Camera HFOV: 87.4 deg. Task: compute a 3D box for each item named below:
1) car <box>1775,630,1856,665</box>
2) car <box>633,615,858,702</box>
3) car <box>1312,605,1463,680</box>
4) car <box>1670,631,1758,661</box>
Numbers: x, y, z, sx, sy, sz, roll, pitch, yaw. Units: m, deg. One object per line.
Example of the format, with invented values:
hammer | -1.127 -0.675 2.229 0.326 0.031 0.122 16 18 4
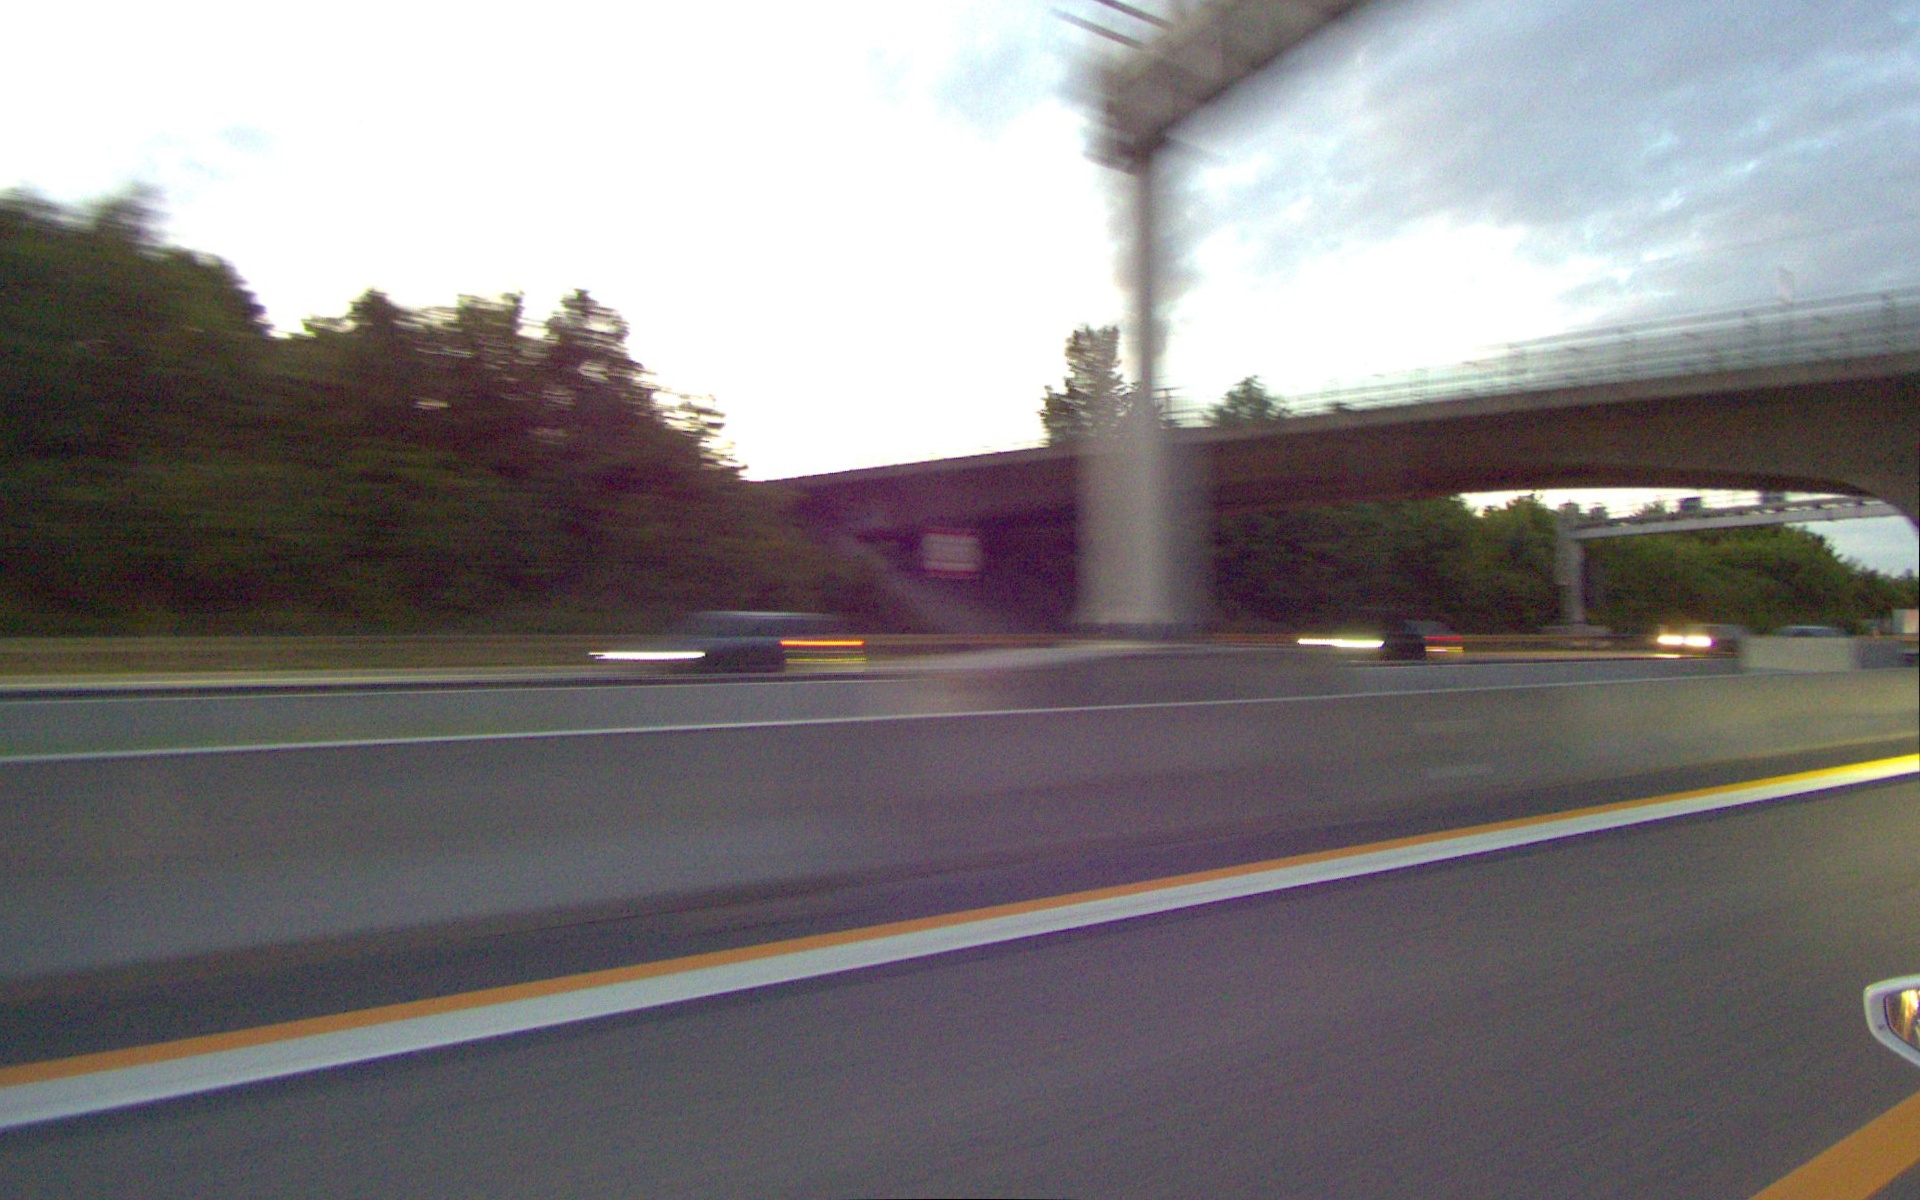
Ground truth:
car | 37.827 2.097 44.414 3.478 1.425 1.619 2 1 -29
car | -4.762 1.261 22.452 4.529 1.696 1.984 2 1 -30
car | 13.771 1.344 32.273 4.746 2.219 1.984 2 1 -30
car | 35.655 2.145 47.480 3.954 1.340 1.984 1 -1 -31
